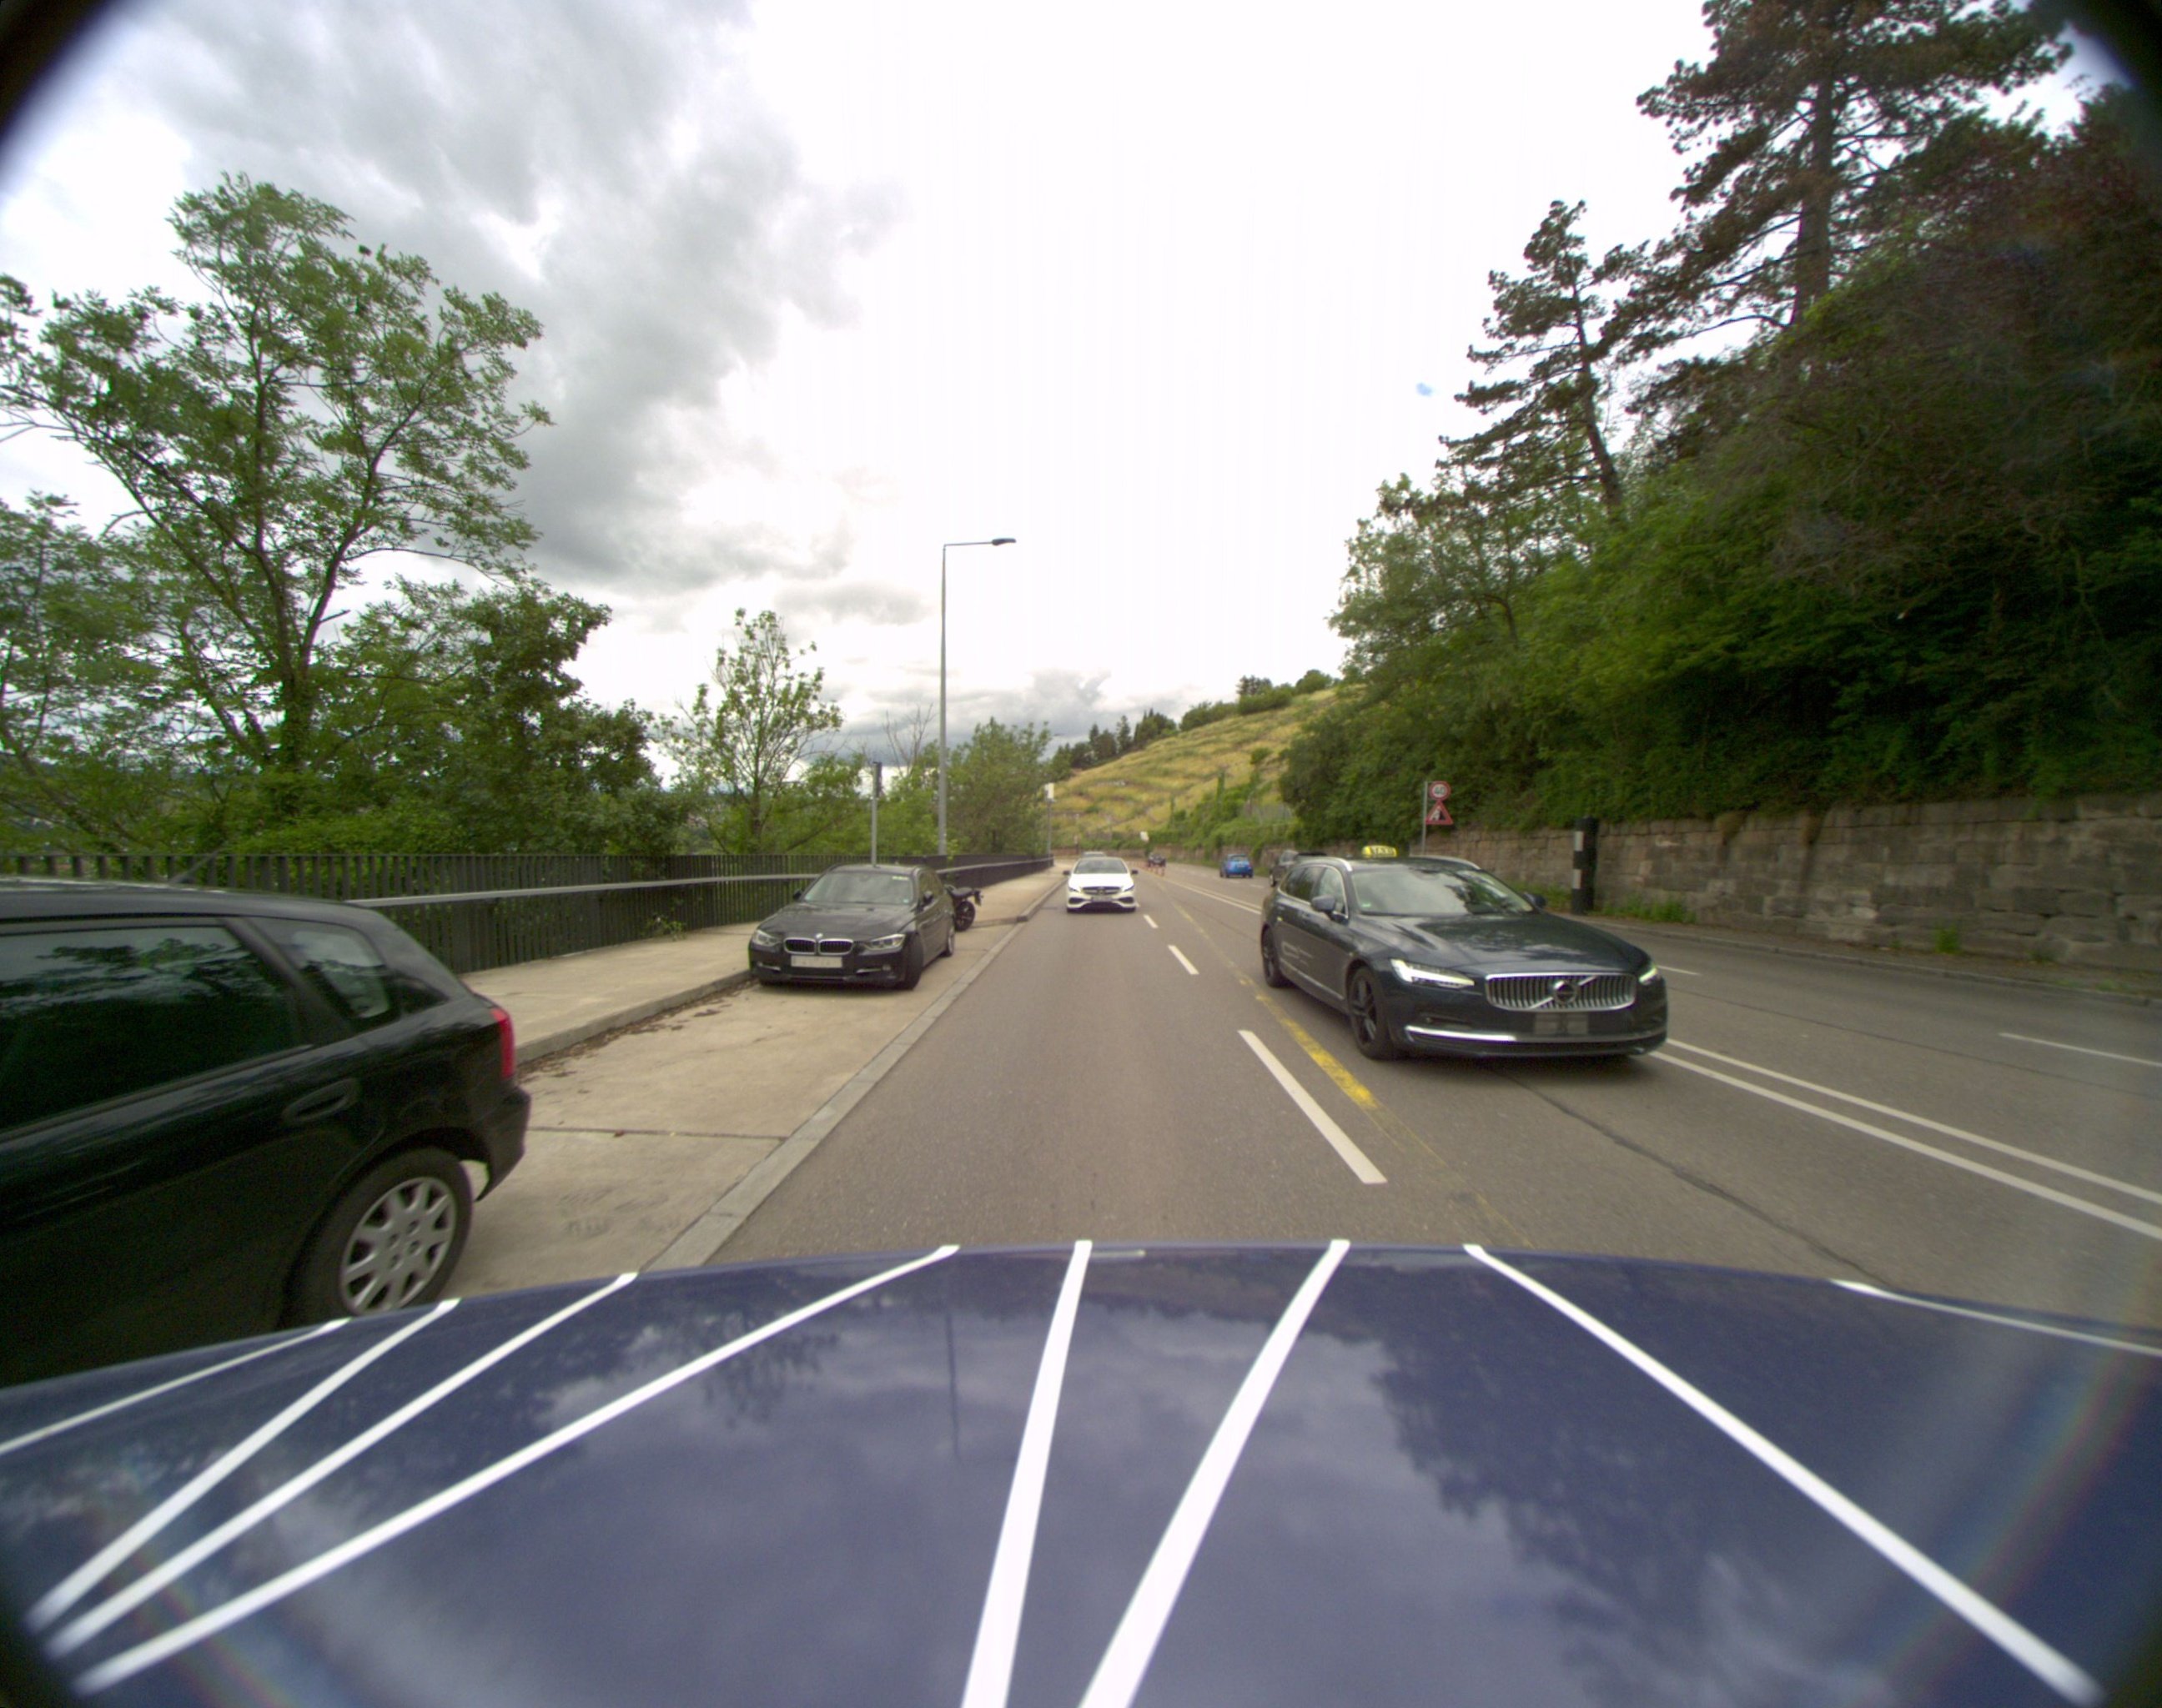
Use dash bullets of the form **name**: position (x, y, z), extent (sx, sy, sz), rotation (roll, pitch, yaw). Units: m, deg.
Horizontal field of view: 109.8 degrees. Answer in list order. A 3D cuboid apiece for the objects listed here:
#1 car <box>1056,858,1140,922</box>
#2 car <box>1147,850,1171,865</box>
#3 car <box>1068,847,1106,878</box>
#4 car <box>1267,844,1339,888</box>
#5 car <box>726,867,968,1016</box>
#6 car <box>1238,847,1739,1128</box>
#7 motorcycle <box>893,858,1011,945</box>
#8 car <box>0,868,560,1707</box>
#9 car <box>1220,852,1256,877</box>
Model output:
- **car**: position (0.465, 0.879, 19.755), extent (1.903, 1.418, 4.267), rotation (-2, -1, 2)
- **car**: position (7.938, 0.325, 77.581), extent (1.861, 1.437, 4.295), rotation (-1, 1, -1)
- **car**: position (0.372, 0.436, 42.487), extent (1.998, 1.580, 4.000), rotation (-2, 1, 2)
- **car**: position (9.243, 0.448, 32.023), extent (1.820, 1.687, 4.469), rotation (-1, 1, 1)
- **car**: position (-2.752, 0.943, 10.053), extent (1.828, 1.393, 4.319), rotation (2, 0, 0)
- **car**: position (2.863, 0.761, 6.894), extent (1.939, 1.567, 5.027), rotation (-2, 0, 2)
- **motorcycle**: position (-2.393, 0.834, 14.493), extent (0.770, 1.459, 2.509), rotation (0, 1, 30)
- **car**: position (-2.952, 0.885, 0.890), extent (1.663, 1.563, 4.255), rotation (3, 0, 1)
- **car**: position (9.643, 0.620, 46.924), extent (1.587, 1.453, 3.523), rotation (-2, 1, 2)
